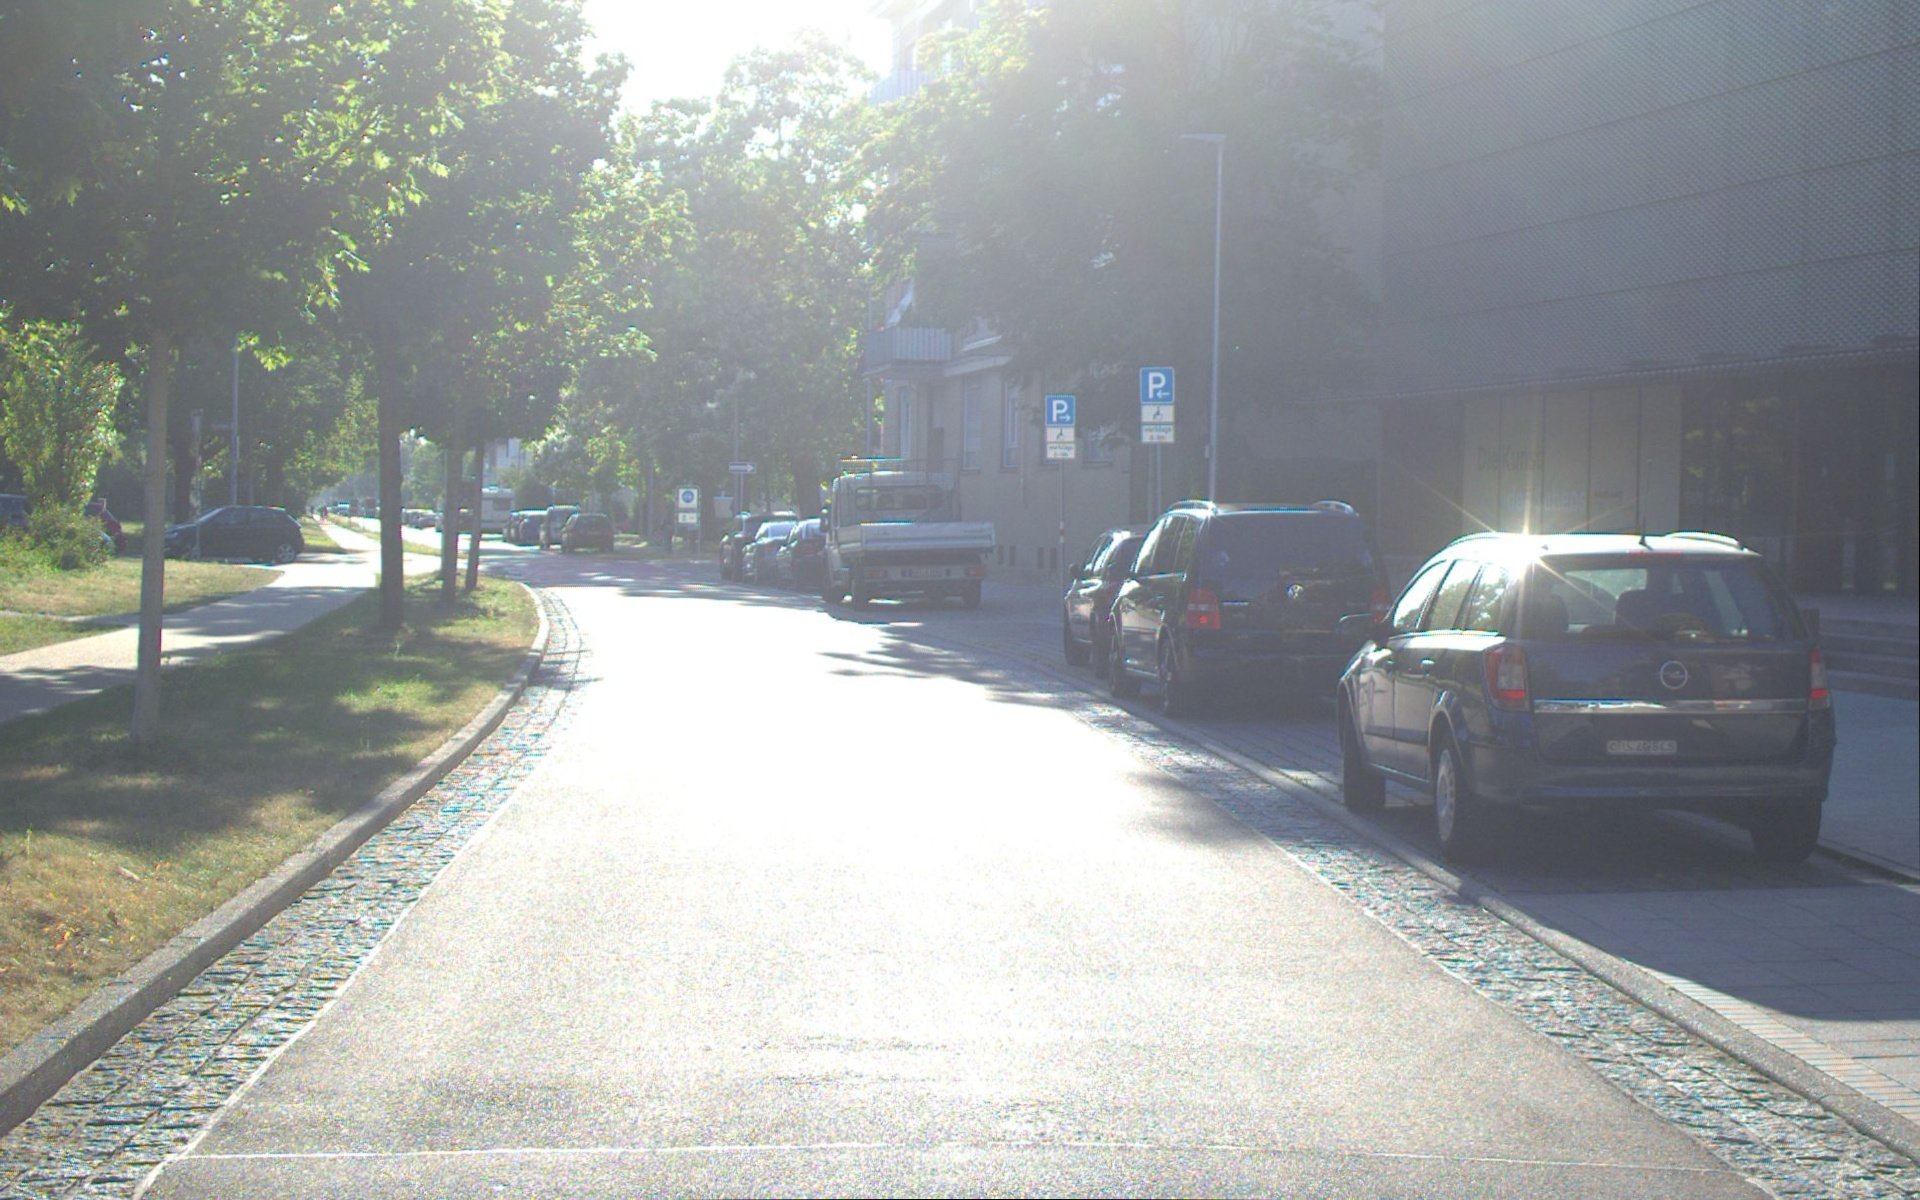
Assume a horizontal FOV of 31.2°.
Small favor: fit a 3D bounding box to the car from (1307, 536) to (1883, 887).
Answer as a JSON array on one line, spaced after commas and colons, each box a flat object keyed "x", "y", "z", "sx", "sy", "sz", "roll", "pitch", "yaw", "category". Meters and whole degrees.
[{"x": 2.958, "y": 0.435, "z": 17.015, "sx": 1.747, "sy": 1.461, "sz": 4.478, "roll": 0, "pitch": 2, "yaw": -4, "category": "car"}]

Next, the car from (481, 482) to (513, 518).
[{"x": -26.396, "y": -5.721, "z": 195.856, "sx": 1.793, "sy": 1.992, "sz": 4.001, "roll": 1, "pitch": 2, "yaw": -8, "category": "car"}]

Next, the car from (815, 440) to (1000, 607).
[{"x": -0.931, "y": -1.293, "z": 56.262, "sx": 2.211, "sy": 2.521, "sz": 6.149, "roll": -2, "pitch": 2, "yaw": -8, "category": "car"}]

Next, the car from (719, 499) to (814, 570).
[{"x": -4.432, "y": -1.512, "z": 78.214, "sx": 1.690, "sy": 1.560, "sz": 4.105, "roll": -1, "pitch": 2, "yaw": -10, "category": "car"}]

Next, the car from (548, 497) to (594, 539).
[{"x": -16.315, "y": -3.455, "z": 144.245, "sx": 1.793, "sy": 1.718, "sz": 4.001, "roll": 1, "pitch": 2, "yaw": -8, "category": "car"}]

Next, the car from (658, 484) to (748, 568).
[{"x": -6.428, "y": -1.856, "z": 85.585, "sx": 1.822, "sy": 2.007, "sz": 3.606, "roll": 1, "pitch": 1, "yaw": -10, "category": "car"}]

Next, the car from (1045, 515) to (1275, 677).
[{"x": 1.876, "y": -0.083, "z": 33.335, "sx": 1.724, "sy": 1.416, "sz": 3.907, "roll": -1, "pitch": 2, "yaw": -4, "category": "car"}]

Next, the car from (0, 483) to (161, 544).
[{"x": -21.587, "y": -2.099, "z": 83.390, "sx": 3.913, "sy": 1.415, "sz": 1.772, "roll": 0, "pitch": 2, "yaw": -32, "category": "car"}]

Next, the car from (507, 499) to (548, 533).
[{"x": -20.066, "y": -3.910, "z": 159.464, "sx": 1.793, "sy": 1.504, "sz": 4.001, "roll": 1, "pitch": 2, "yaw": -8, "category": "car"}]

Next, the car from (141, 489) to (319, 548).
[{"x": -18.244, "y": -2.025, "z": 85.959, "sx": 3.987, "sy": 1.415, "sz": 1.771, "roll": 0, "pitch": 2, "yaw": -35, "category": "car"}]

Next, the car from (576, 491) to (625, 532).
[{"x": -13.641, "y": -3.370, "z": 130.506, "sx": 1.793, "sy": 1.504, "sz": 4.001, "roll": 1, "pitch": 2, "yaw": -5, "category": "car"}]

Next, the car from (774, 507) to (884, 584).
[{"x": -2.589, "y": -1.085, "z": 67.295, "sx": 1.690, "sy": 1.435, "sz": 3.552, "roll": -1, "pitch": 2, "yaw": -10, "category": "car"}]

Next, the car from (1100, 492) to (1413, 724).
[{"x": 2.276, "y": -0.008, "z": 27.388, "sx": 1.724, "sy": 1.663, "sz": 4.115, "roll": -1, "pitch": 2, "yaw": -6, "category": "car"}]

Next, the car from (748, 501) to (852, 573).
[{"x": -3.417, "y": -1.359, "z": 72.760, "sx": 1.690, "sy": 1.435, "sz": 4.105, "roll": -1, "pitch": 2, "yaw": -10, "category": "car"}]
